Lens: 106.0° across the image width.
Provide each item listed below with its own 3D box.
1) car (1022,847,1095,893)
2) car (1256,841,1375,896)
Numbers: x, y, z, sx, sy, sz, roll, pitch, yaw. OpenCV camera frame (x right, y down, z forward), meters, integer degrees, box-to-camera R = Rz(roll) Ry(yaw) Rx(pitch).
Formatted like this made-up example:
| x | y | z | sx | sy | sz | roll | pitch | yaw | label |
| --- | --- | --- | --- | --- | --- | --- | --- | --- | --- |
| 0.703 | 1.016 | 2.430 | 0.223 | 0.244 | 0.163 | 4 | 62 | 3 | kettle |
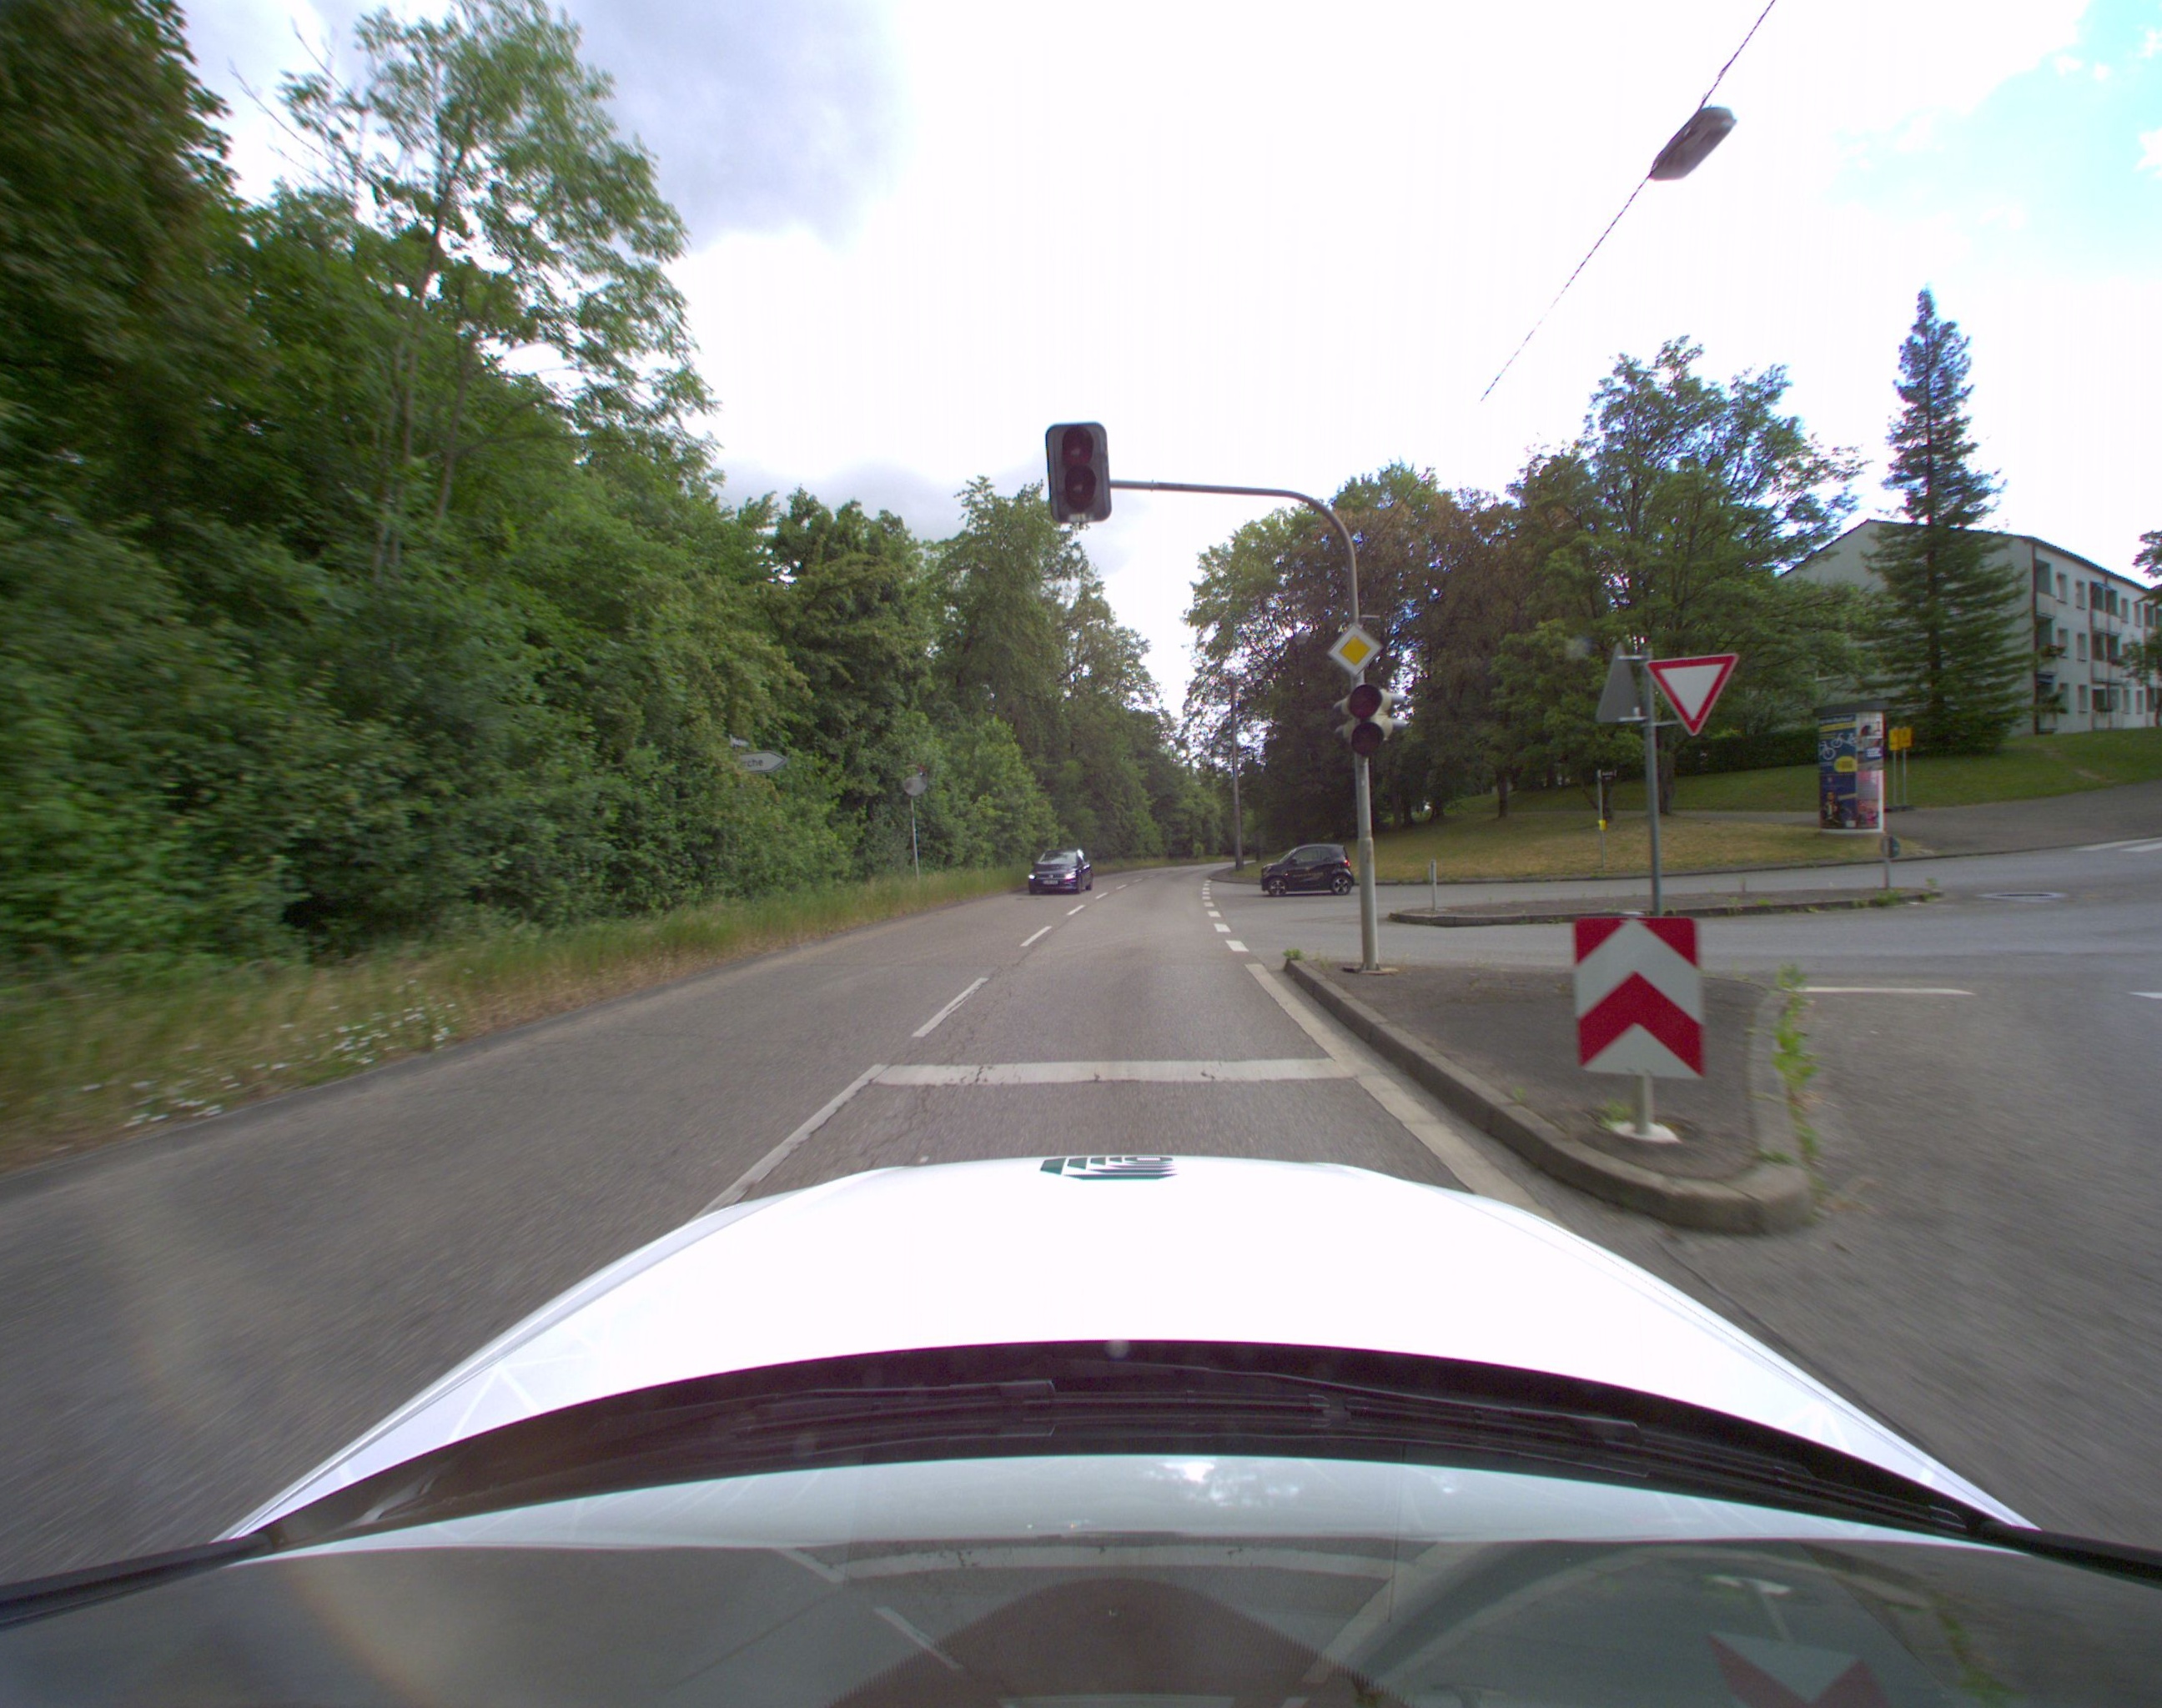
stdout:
| x | y | z | sx | sy | sz | roll | pitch | yaw | label |
| --- | --- | --- | --- | --- | --- | --- | --- | --- | --- |
| -0.710 | 0.528 | 29.437 | 1.778 | 1.514 | 4.854 | 0 | 0 | 9 | car |
| 7.051 | 0.431 | 24.755 | 3.282 | 1.494 | 1.673 | -3 | 0 | 11 | car |
